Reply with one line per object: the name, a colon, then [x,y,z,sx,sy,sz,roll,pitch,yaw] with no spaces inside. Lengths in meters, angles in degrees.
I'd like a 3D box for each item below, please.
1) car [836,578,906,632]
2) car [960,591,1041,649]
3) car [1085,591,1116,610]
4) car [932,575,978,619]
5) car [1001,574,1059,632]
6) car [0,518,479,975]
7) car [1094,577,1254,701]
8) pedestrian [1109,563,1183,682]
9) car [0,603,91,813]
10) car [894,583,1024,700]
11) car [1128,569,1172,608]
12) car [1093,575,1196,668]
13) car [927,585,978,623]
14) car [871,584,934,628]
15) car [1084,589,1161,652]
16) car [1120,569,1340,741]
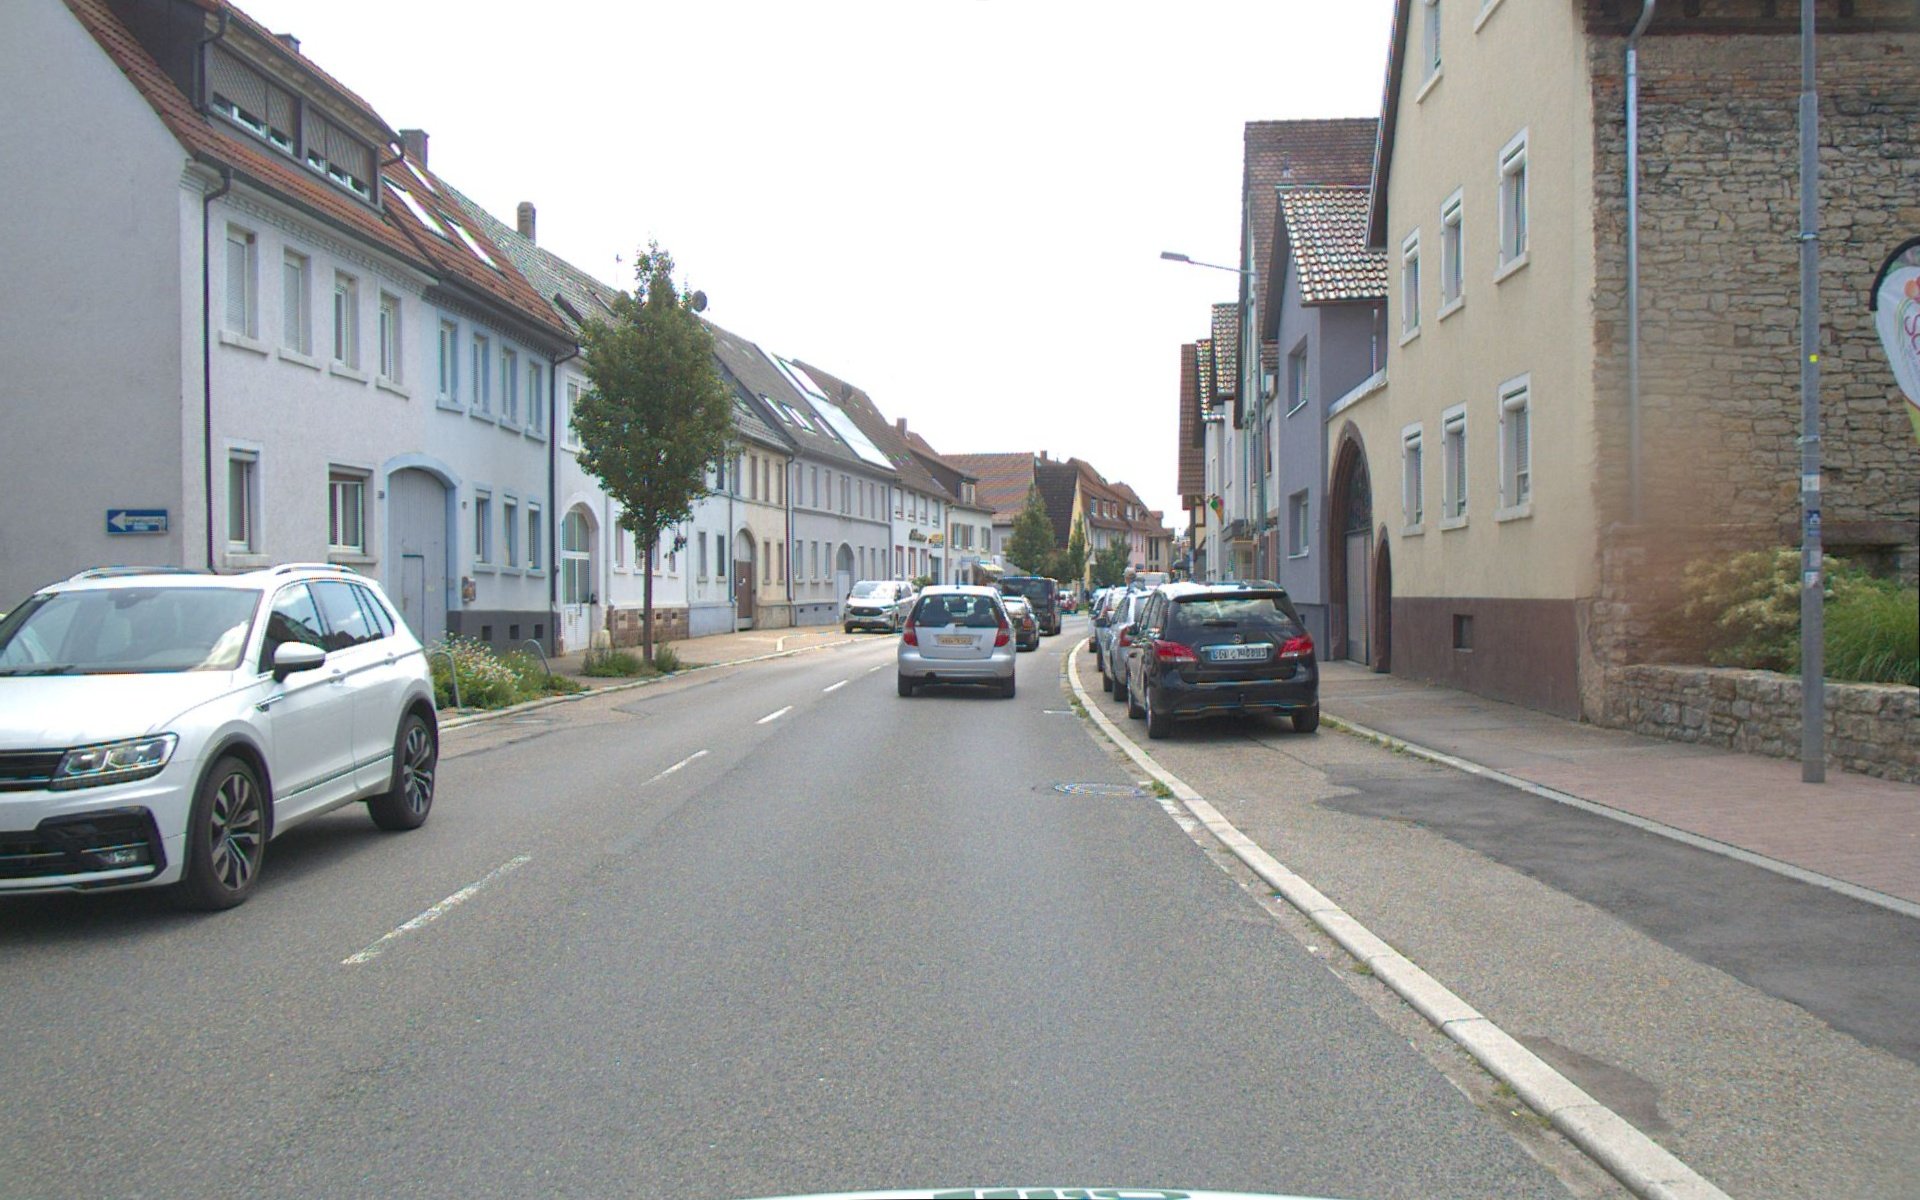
car: [-3.313,0.177,62.336,2.047,1.917,4.002,-1,0,5]
car: [1.127,0.532,44.389,1.904,1.432,4.002,1,0,5]
car: [10.024,0.008,117.906,1.668,1.291,4.003,-2,0,13]
car: [-0.209,-0.132,80.856,1.952,2.049,4.001,-2,0,3]
car: [2.505,0.111,58.182,1.731,1.921,4.450,1,0,6]
car: [-4.348,0.588,8.953,1.914,1.816,4.653,-2,0,2]
car: [2.971,0.524,23.785,1.822,1.558,4.197,-2,0,2]
pedestrian: [3.040,0.350,26.885,1.072,1.853,1.471,-1,0,10]
car: [-7.729,0.787,10.916,1.767,1.486,4.158,0,0,0]
car: [0.057,0.595,25.464,1.732,1.622,4.002,1,0,3]
car: [11.510,-0.683,100.079,2.188,2.261,4.003,-2,0,12]
car: [3.572,0.411,32.612,1.822,1.654,4.199,-2,0,5]
car: [-0.343,0.184,78.303,1.753,1.677,4.003,-2,0,9]
car: [-2.392,0.265,69.729,1.951,1.736,4.003,-2,0,8]
car: [4.117,0.514,42.208,1.822,1.488,3.452,-2,0,5]
car: [2.816,0.514,18.110,1.952,1.586,4.002,-2,1,4]
